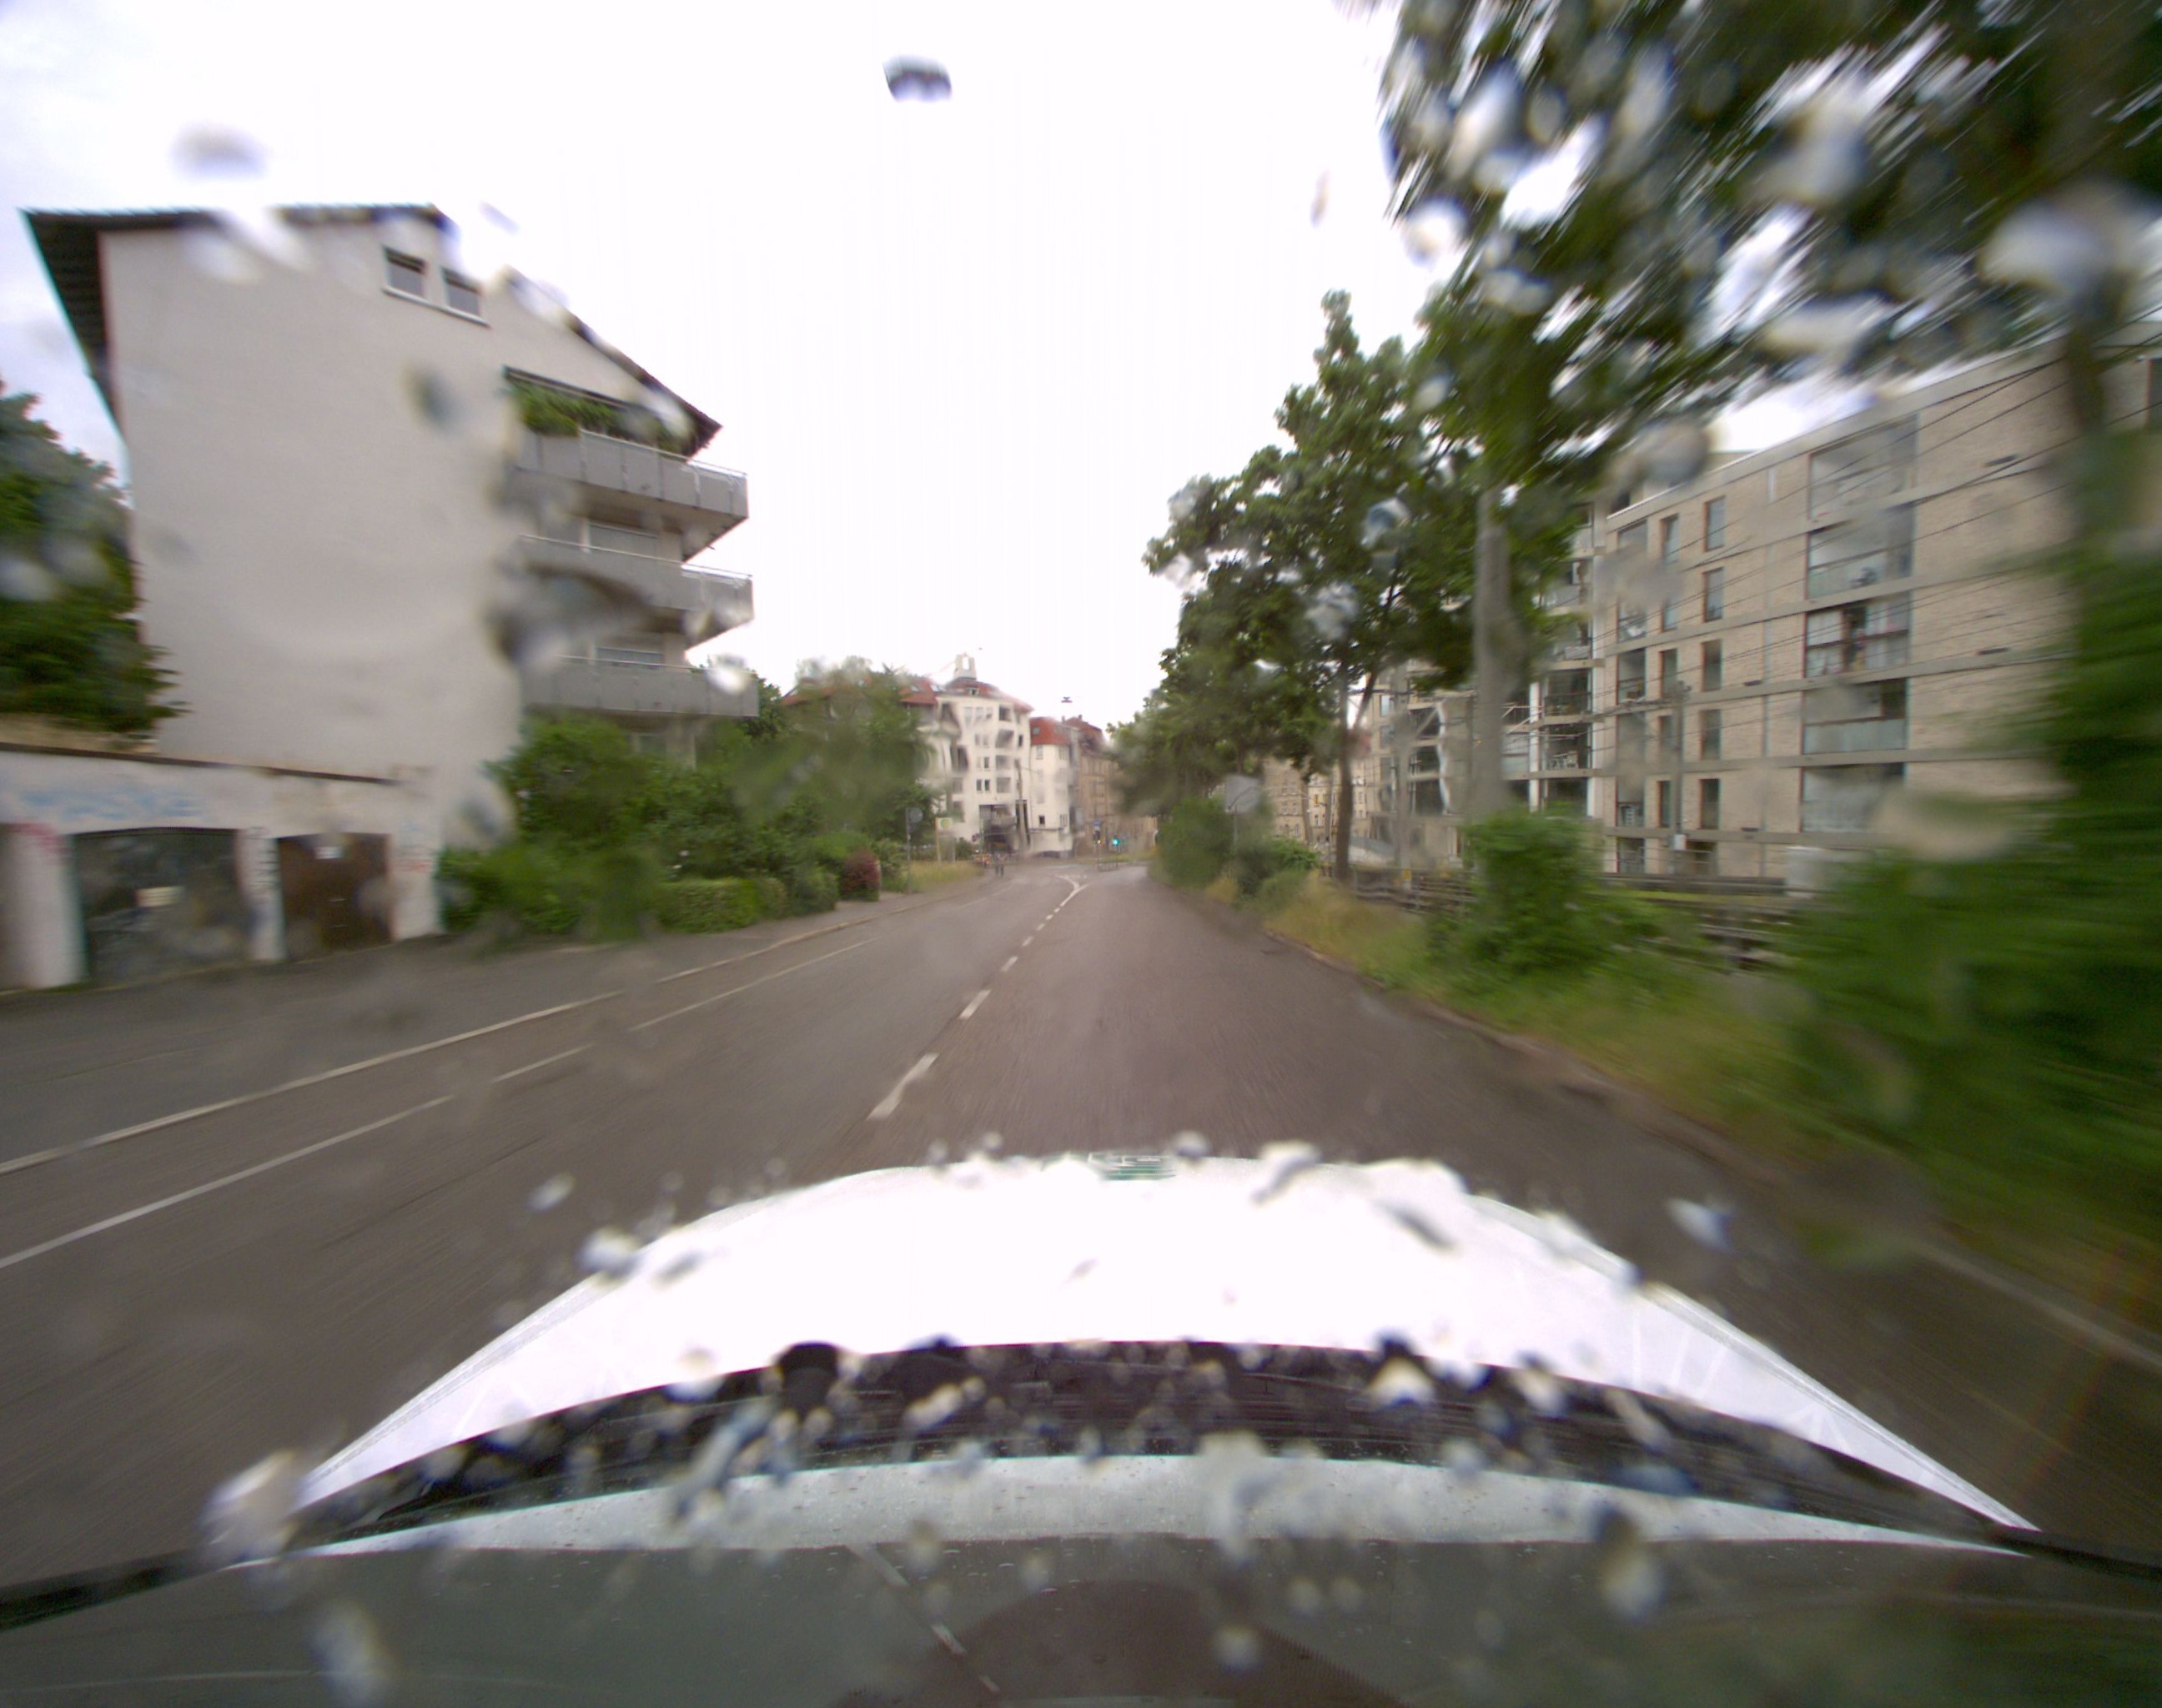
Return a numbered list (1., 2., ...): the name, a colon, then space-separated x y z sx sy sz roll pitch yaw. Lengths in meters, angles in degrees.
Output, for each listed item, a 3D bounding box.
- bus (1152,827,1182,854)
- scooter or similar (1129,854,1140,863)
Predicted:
1. bus: 9.705 -1.520 91.846 1.975 2.871 4.024 -2 0 27
2. scooter or similar: 5.084 0.423 77.042 0.480 0.761 1.338 -2 0 29
